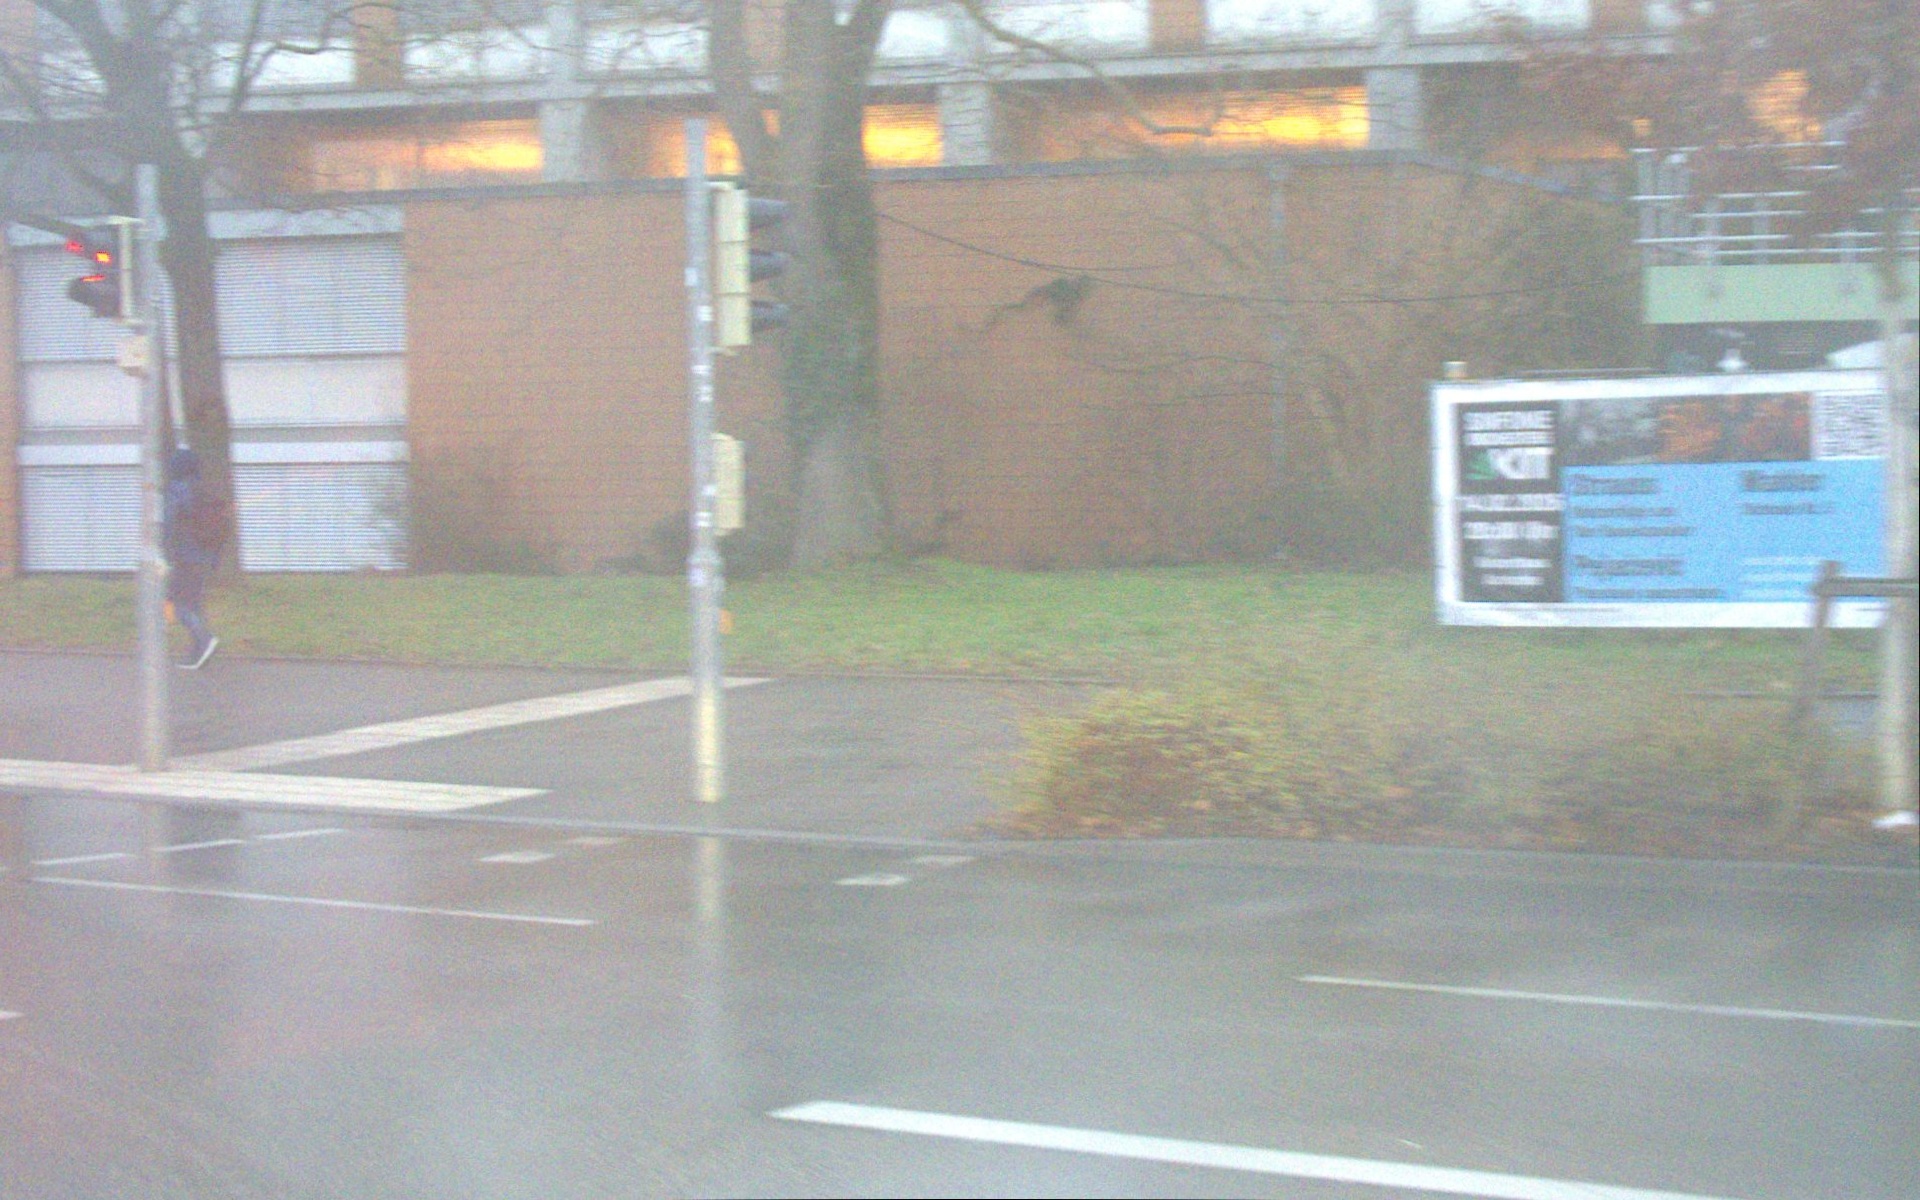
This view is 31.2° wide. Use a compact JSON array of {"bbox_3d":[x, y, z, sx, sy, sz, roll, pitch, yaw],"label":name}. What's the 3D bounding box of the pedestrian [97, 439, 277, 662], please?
[{"bbox_3d":[-6.050,-0.396,26.899,1.069,1.681,0.808,1,4,38],"label":"pedestrian"}]
